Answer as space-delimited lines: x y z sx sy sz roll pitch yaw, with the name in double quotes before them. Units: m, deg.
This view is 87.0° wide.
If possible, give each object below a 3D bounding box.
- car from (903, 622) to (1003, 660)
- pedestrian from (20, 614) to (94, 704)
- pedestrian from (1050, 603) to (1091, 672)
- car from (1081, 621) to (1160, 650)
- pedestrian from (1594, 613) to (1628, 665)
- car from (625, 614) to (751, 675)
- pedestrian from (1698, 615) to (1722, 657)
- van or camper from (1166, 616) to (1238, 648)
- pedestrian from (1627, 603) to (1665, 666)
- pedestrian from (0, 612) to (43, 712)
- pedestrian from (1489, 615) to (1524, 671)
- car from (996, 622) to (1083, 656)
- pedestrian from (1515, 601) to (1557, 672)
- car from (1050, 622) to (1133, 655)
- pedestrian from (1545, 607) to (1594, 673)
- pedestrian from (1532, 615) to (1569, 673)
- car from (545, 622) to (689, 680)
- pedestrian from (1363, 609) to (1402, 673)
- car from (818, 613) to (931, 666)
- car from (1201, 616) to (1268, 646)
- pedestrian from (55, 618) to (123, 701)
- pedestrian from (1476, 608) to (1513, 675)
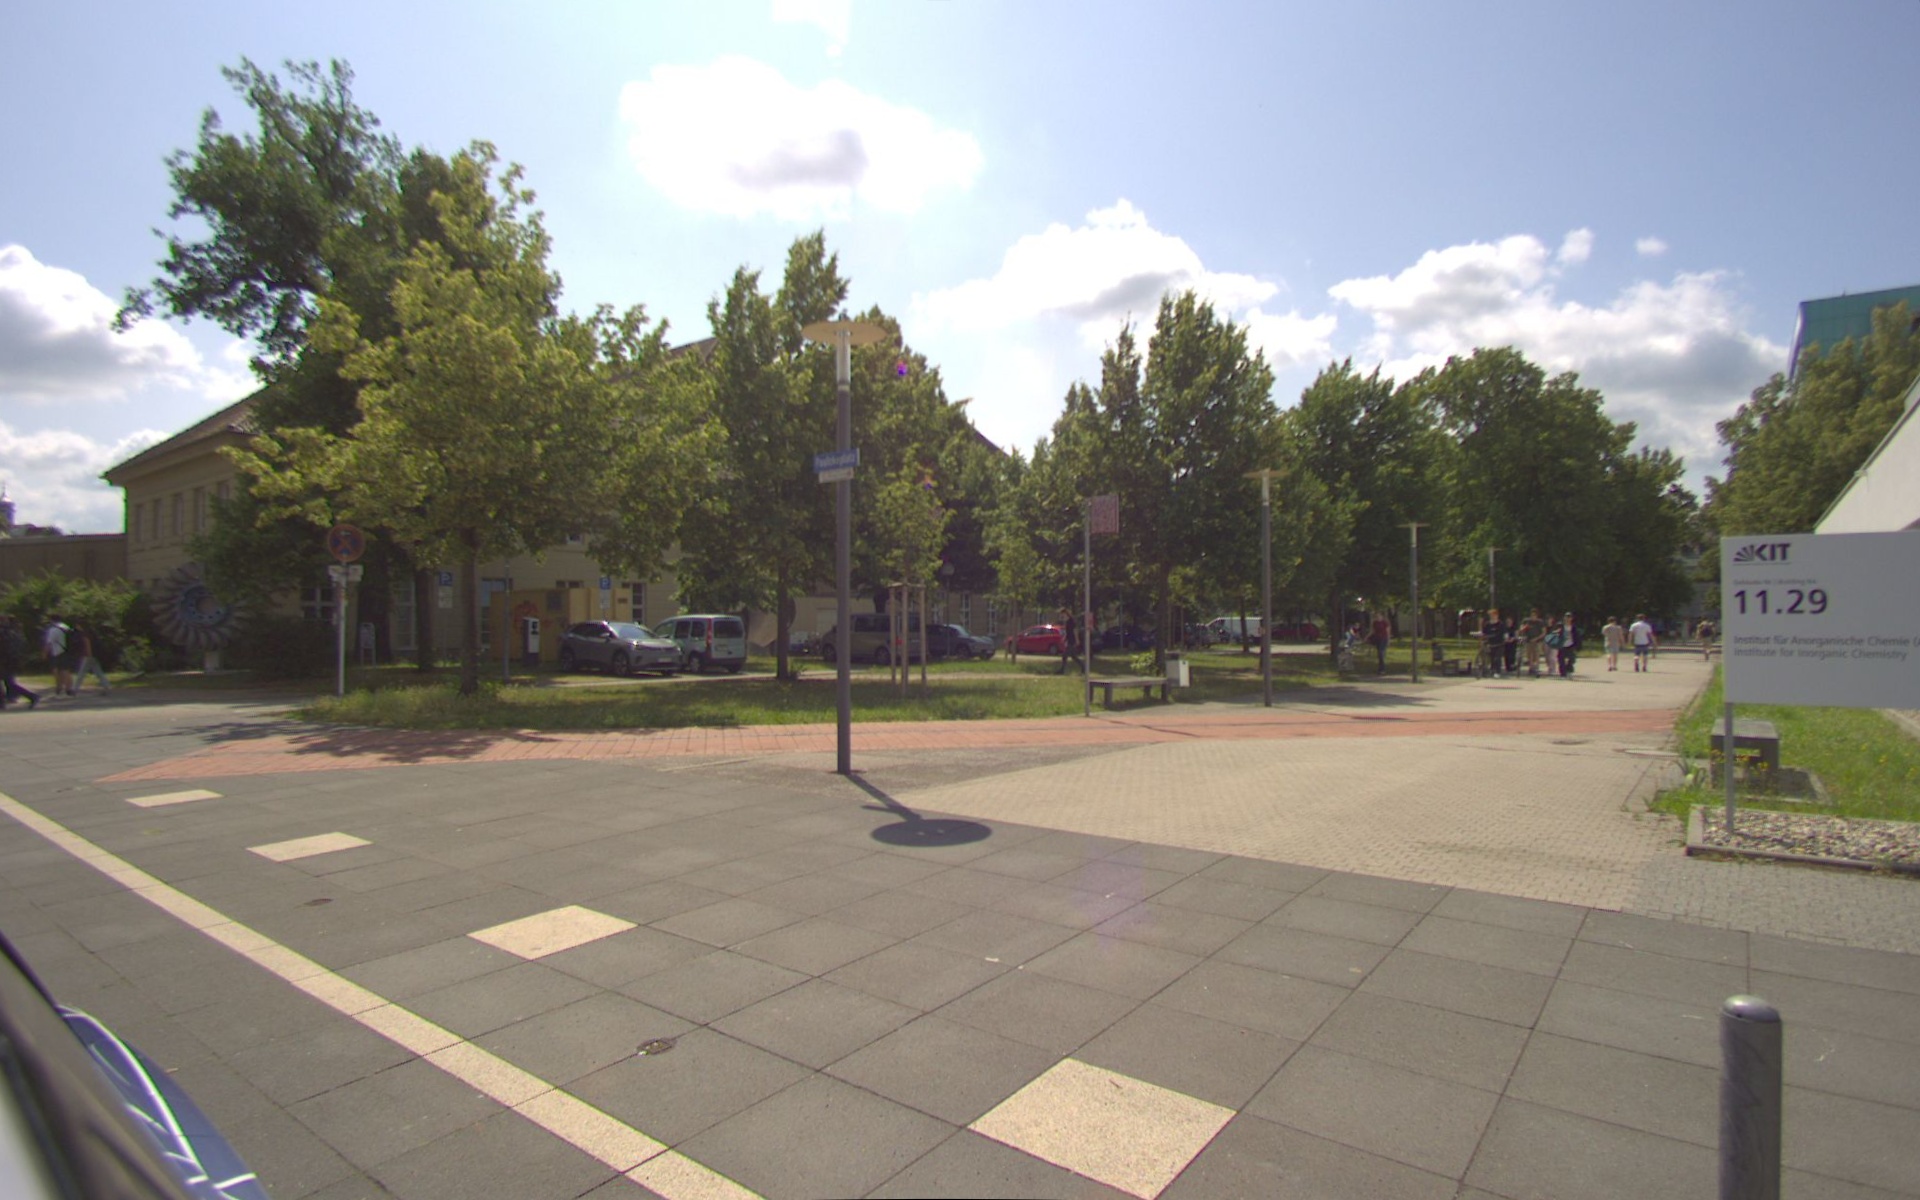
"car" -0.345 1.736 43.891 4.118 1.553 1.790 0 -1 38
"pedestrian" -18.505 1.190 20.752 0.885 1.800 0.728 0 -2 -17
"pedestrian" 2.965 1.006 27.201 0.858 1.800 0.638 1 1 -16
"car" 9.108 1.993 57.674 4.118 1.553 1.790 0 -1 38
"pedestrian" 20.130 1.189 31.278 0.758 1.574 0.721 -2 -2 41
"car" -8.813 1.379 32.627 4.118 1.799 1.790 0 -1 38
"pedestrian" 31.064 1.479 41.904 0.725 1.706 0.551 -2 -2 41
"van or camper" 15.404 2.006 64.434 4.077 1.900 1.790 0 -1 38
"pedestrian" 20.889 1.043 30.826 0.825 1.898 0.753 -2 -2 41
"pedestrian" -17.447 1.133 18.475 0.858 1.800 0.571 0 -3 -22
"pedestrian" 15.754 1.230 29.163 0.747 1.593 0.845 -2 -2 36
"car" 3.995 1.933 51.008 4.122 1.553 1.788 0 -1 41
"pedestrian" 15.318 0.964 26.905 0.749 1.852 0.687 0 -2 -36
"car" 7.104 2.029 54.662 4.118 1.679 1.790 0 -1 38
"pedestrian" 15.542 1.012 25.815 0.720 1.666 0.802 0 -2 -36
"pedestrian" 16.557 1.223 28.371 0.696 1.593 0.843 -2 -2 42
"car" -10.438 1.488 30.702 4.643 1.593 1.876 0 -1 38
"pedestrian" 12.750 1.219 30.552 0.657 1.906 0.858 0 -2 -36
"car" -3.403 1.504 39.829 4.525 1.974 1.788 0 -1 41
"car" 18.929 2.104 69.930 4.118 1.958 1.790 0 -1 38
"pedestrian" -18.726 1.263 21.777 0.956 1.729 0.559 0 -2 -22
"pedestrian" 14.086 1.081 26.685 0.748 1.710 0.877 -2 -2 34
